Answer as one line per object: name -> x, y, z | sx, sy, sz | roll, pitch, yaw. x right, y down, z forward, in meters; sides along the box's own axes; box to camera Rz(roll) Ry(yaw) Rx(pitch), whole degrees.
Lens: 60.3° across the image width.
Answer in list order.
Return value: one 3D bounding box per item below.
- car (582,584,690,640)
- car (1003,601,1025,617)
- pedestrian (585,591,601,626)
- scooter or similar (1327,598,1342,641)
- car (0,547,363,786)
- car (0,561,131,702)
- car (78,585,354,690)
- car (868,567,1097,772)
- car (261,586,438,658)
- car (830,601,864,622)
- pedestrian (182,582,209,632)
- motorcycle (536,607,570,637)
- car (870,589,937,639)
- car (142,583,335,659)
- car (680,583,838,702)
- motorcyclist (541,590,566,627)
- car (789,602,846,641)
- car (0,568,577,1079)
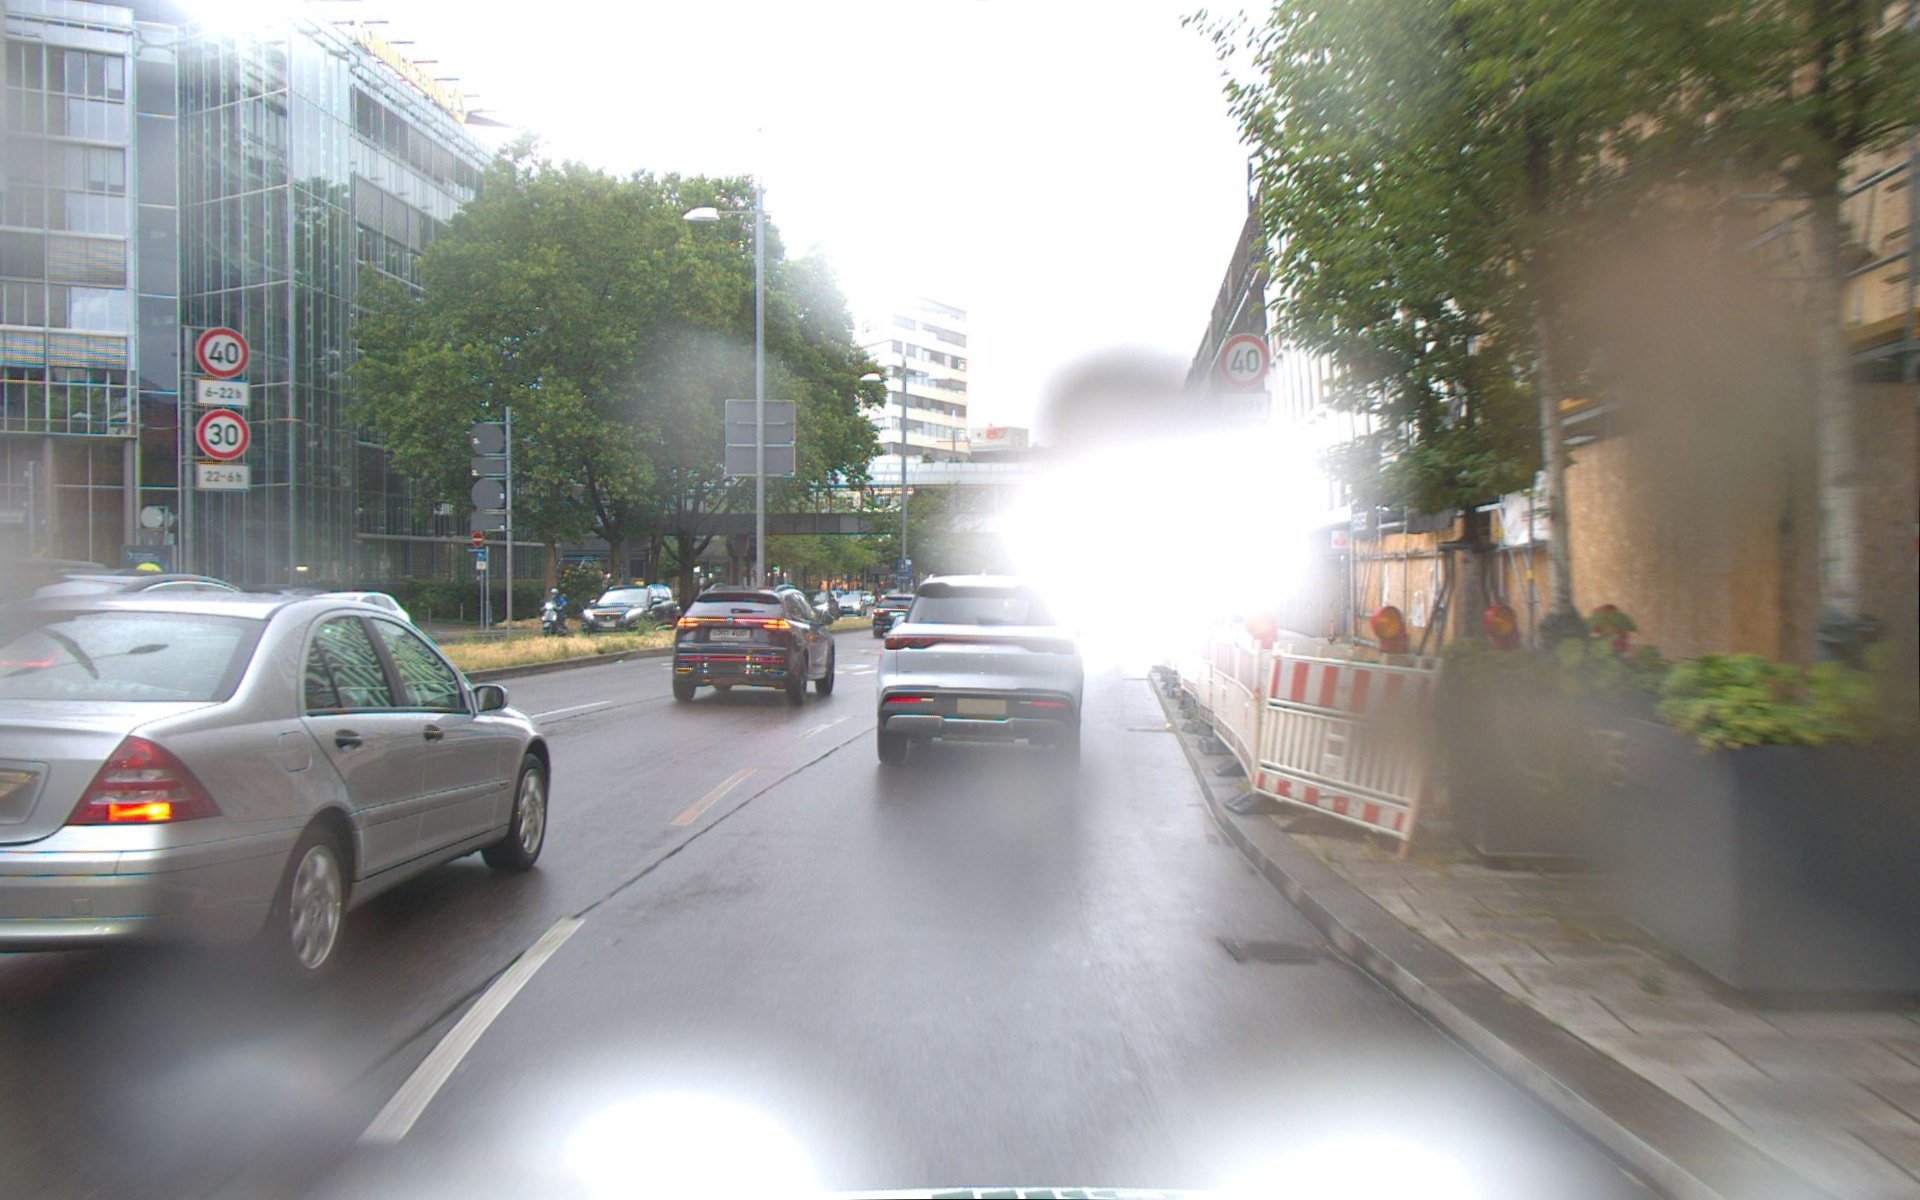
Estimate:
car -> -8.886, 0.345, 45.685 | 1.664, 1.462, 4.585 | 0, -1, 6
car -> 4.898, 0.827, 149.790 | 1.618, 1.365, 4.003 | 1, 0, 7
pedestrian -> -19.324, 0.459, 87.132 | 0.583, 1.839, 0.760 | 1, 0, 5
scooter or similar -> 11.185, 0.579, 49.429 | 0.403, 1.258, 1.190 | 1, 0, 14
car -> -6.708, 0.368, 13.037 | 1.833, 1.504, 4.882 | -1, 2, 5
car -> -14.630, 0.454, 24.233 | 1.792, 2.037, 5.108 | 0, -1, 8
car -> -11.320, 0.547, 25.532 | 1.820, 1.467, 4.316 | 0, -1, 8
car -> 0.292, 0.573, 15.515 | 1.861, 1.650, 4.002 | 0, 0, 3
car -> -13.182, 0.466, 36.031 | 1.690, 1.458, 4.399 | 0, -1, 8
car -> -7.819, 0.803, 114.787 | 1.655, 1.463, 4.762 | 0, -1, 5
pedestrian -> -24.492, 0.221, 53.013 | 0.656, 1.598, 0.818 | 0, 1, -16
motorcycle -> -13.874, 0.732, 56.397 | 0.679, 0.987, 1.397 | 1, 0, 7
car -> -1.864, 0.451, 55.485 | 1.773, 1.606, 4.002 | 1, 0, 5
car -> -15.842, 0.459, 36.603 | 1.690, 1.559, 4.643 | 0, -1, 8
car -> -2.652, 0.552, 22.614 | 1.738, 1.482, 3.999 | 0, -1, -1
motorcyclist -> -13.859, 0.280, 56.395 | 0.660, 1.260, 0.620 | 1, 0, 6
car -> -6.516, 0.981, 76.209 | 1.834, 1.710, 4.683 | 0, -1, 5
car -> -3.065, 0.638, 7.139 | 1.637, 1.505, 4.362 | 1, 1, 2
